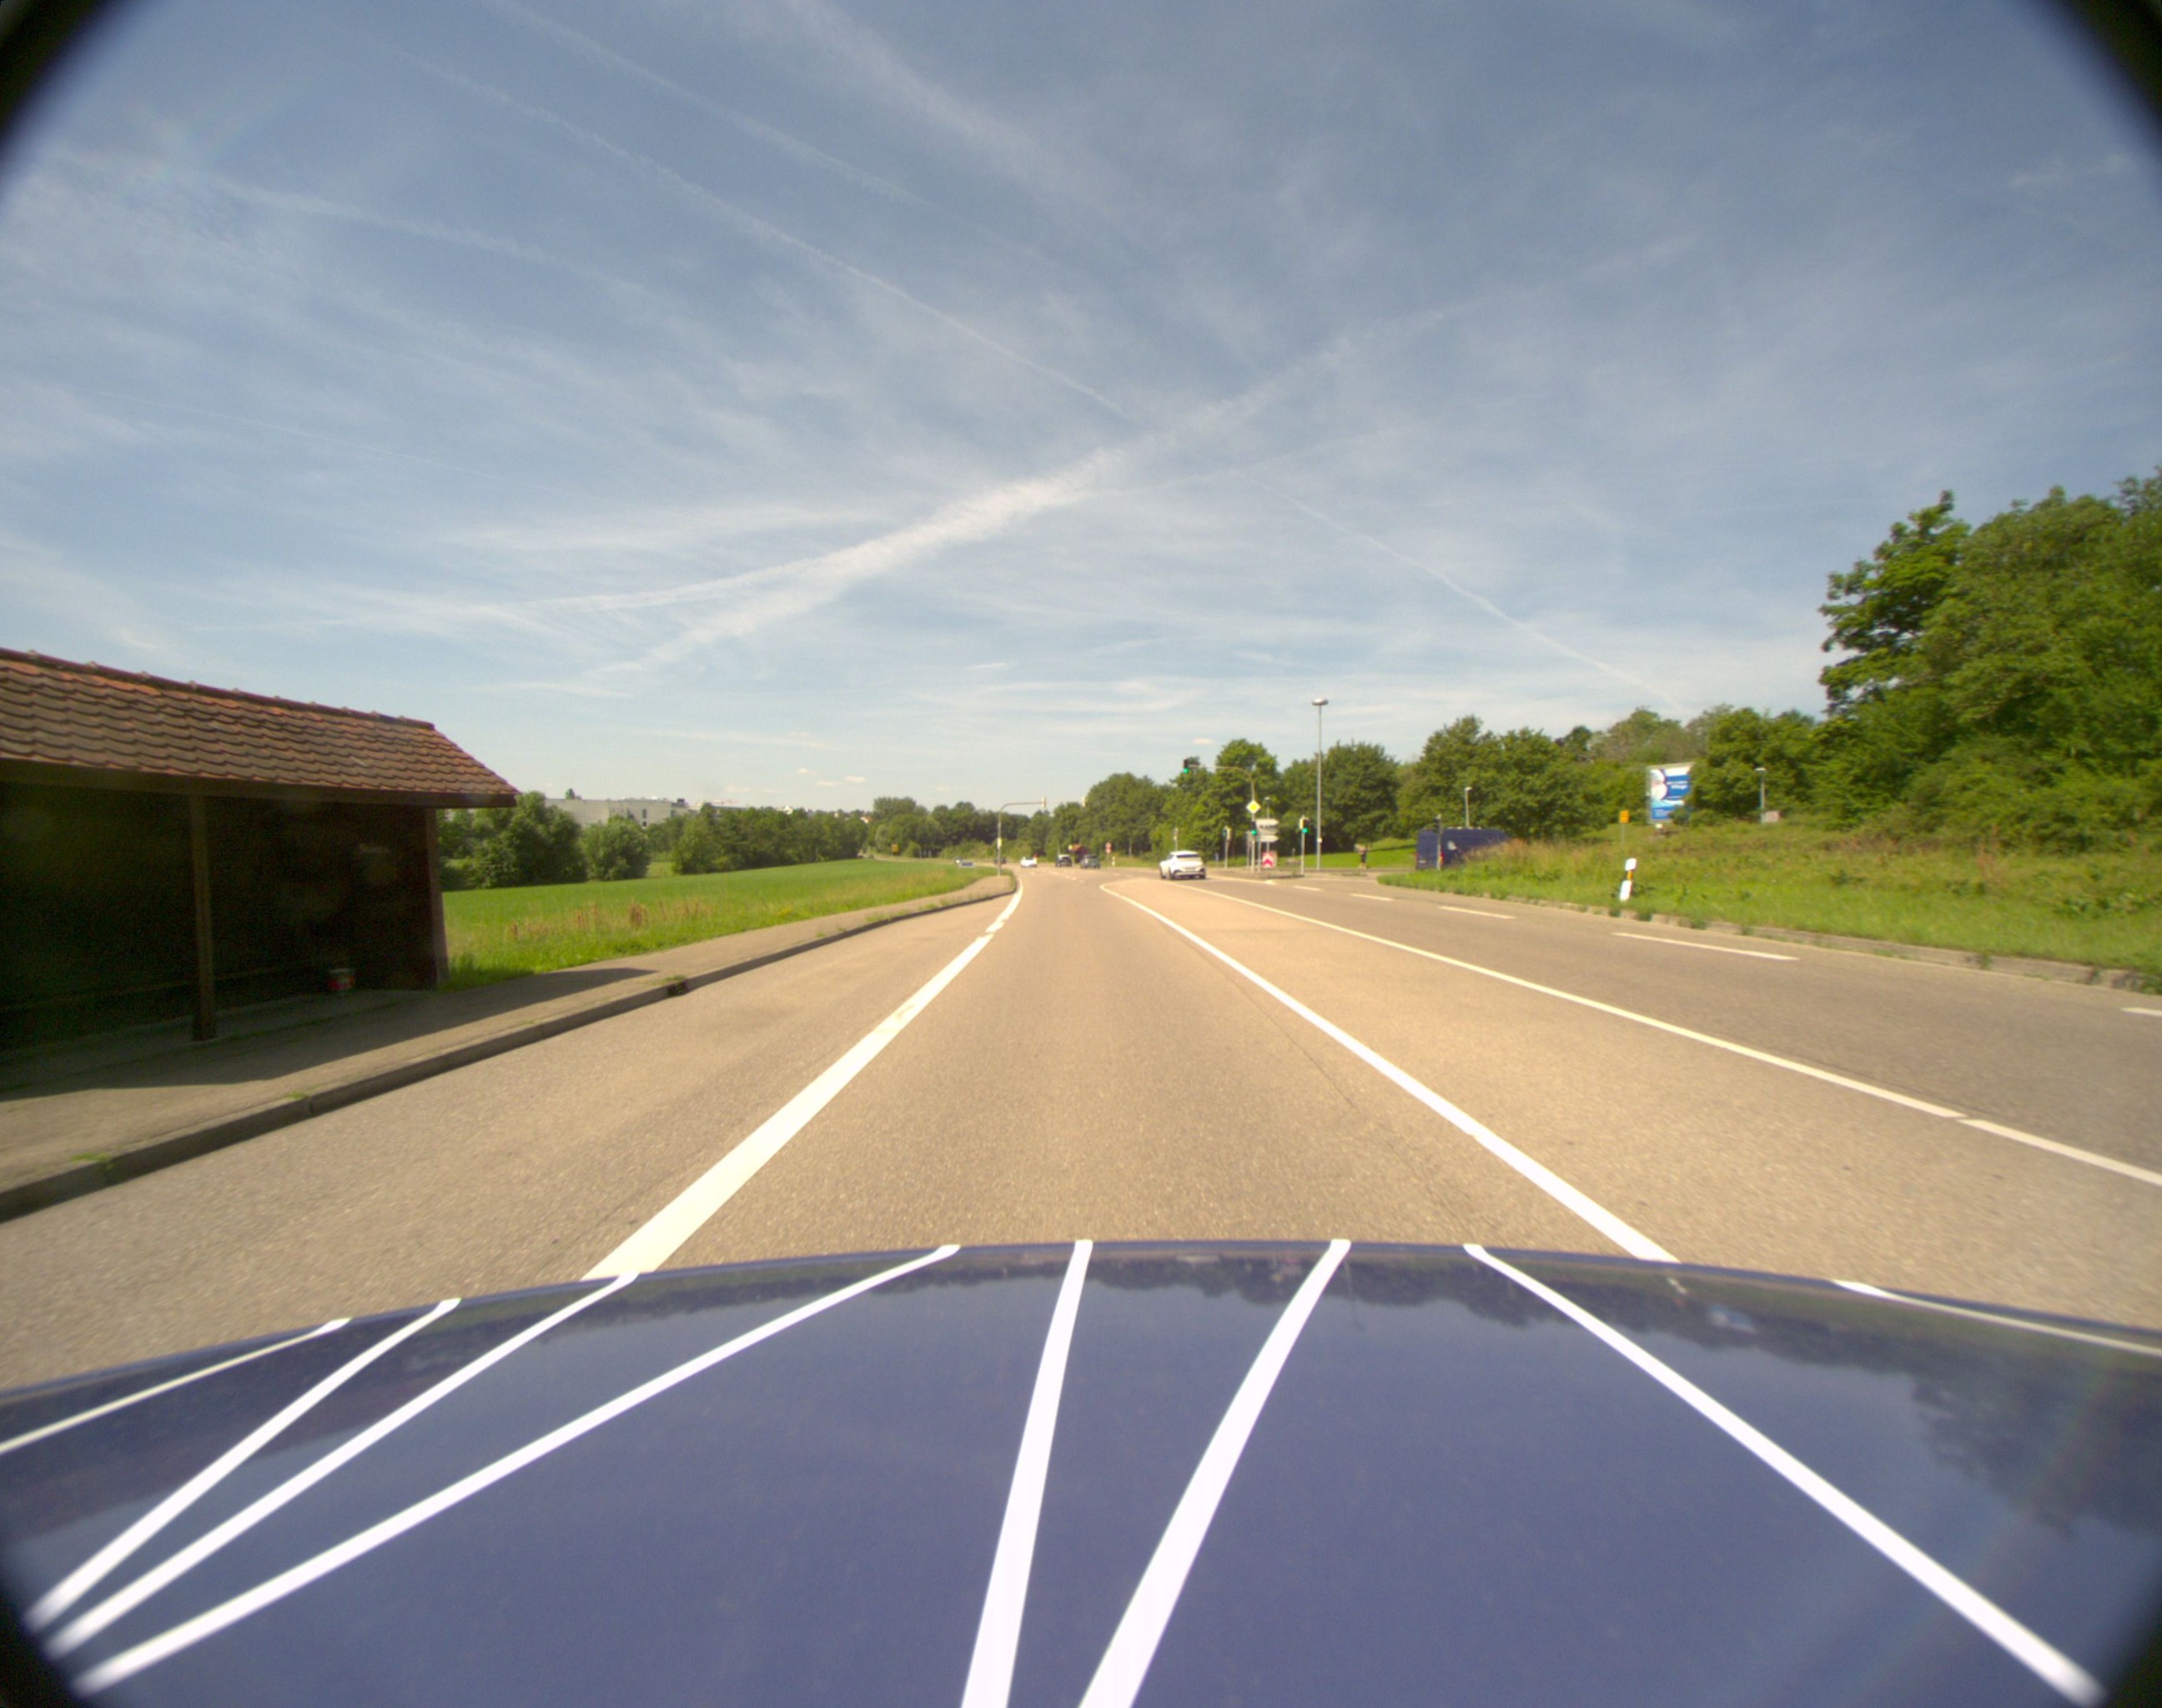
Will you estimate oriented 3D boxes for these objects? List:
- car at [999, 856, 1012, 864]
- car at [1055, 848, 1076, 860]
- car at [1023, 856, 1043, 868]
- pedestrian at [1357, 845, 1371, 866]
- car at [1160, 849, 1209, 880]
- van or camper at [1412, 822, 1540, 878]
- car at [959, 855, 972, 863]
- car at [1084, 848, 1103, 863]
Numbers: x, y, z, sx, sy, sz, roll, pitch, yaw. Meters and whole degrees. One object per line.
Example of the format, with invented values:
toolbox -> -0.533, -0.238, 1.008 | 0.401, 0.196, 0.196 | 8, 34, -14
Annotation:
car -> -14.615, 1.127, 147.551 | 1.798, 1.465, 4.305 | -2, 1, -15
car -> -2.066, -0.002, 100.307 | 1.981, 1.553, 4.184 | -3, 0, -13
car -> -6.800, 1.157, 107.054 | 2.001, 1.576, 3.995 | -3, 1, -14
pedestrian -> 24.415, 0.142, 65.565 | 0.920, 1.726, 0.901 | -2, 1, 30
car -> 5.665, 0.525, 42.104 | 1.942, 1.539, 4.626 | -2, 1, -1
van or camper -> 22.633, -0.172, 43.496 | 7.255, 2.896, 2.243 | 2, -1, -21
car -> -24.952, 1.009, 164.294 | 2.002, 1.576, 3.993 | -3, 1, -20
car -> 1.359, 0.172, 83.449 | 1.712, 1.474, 3.830 | -3, 0, -5
